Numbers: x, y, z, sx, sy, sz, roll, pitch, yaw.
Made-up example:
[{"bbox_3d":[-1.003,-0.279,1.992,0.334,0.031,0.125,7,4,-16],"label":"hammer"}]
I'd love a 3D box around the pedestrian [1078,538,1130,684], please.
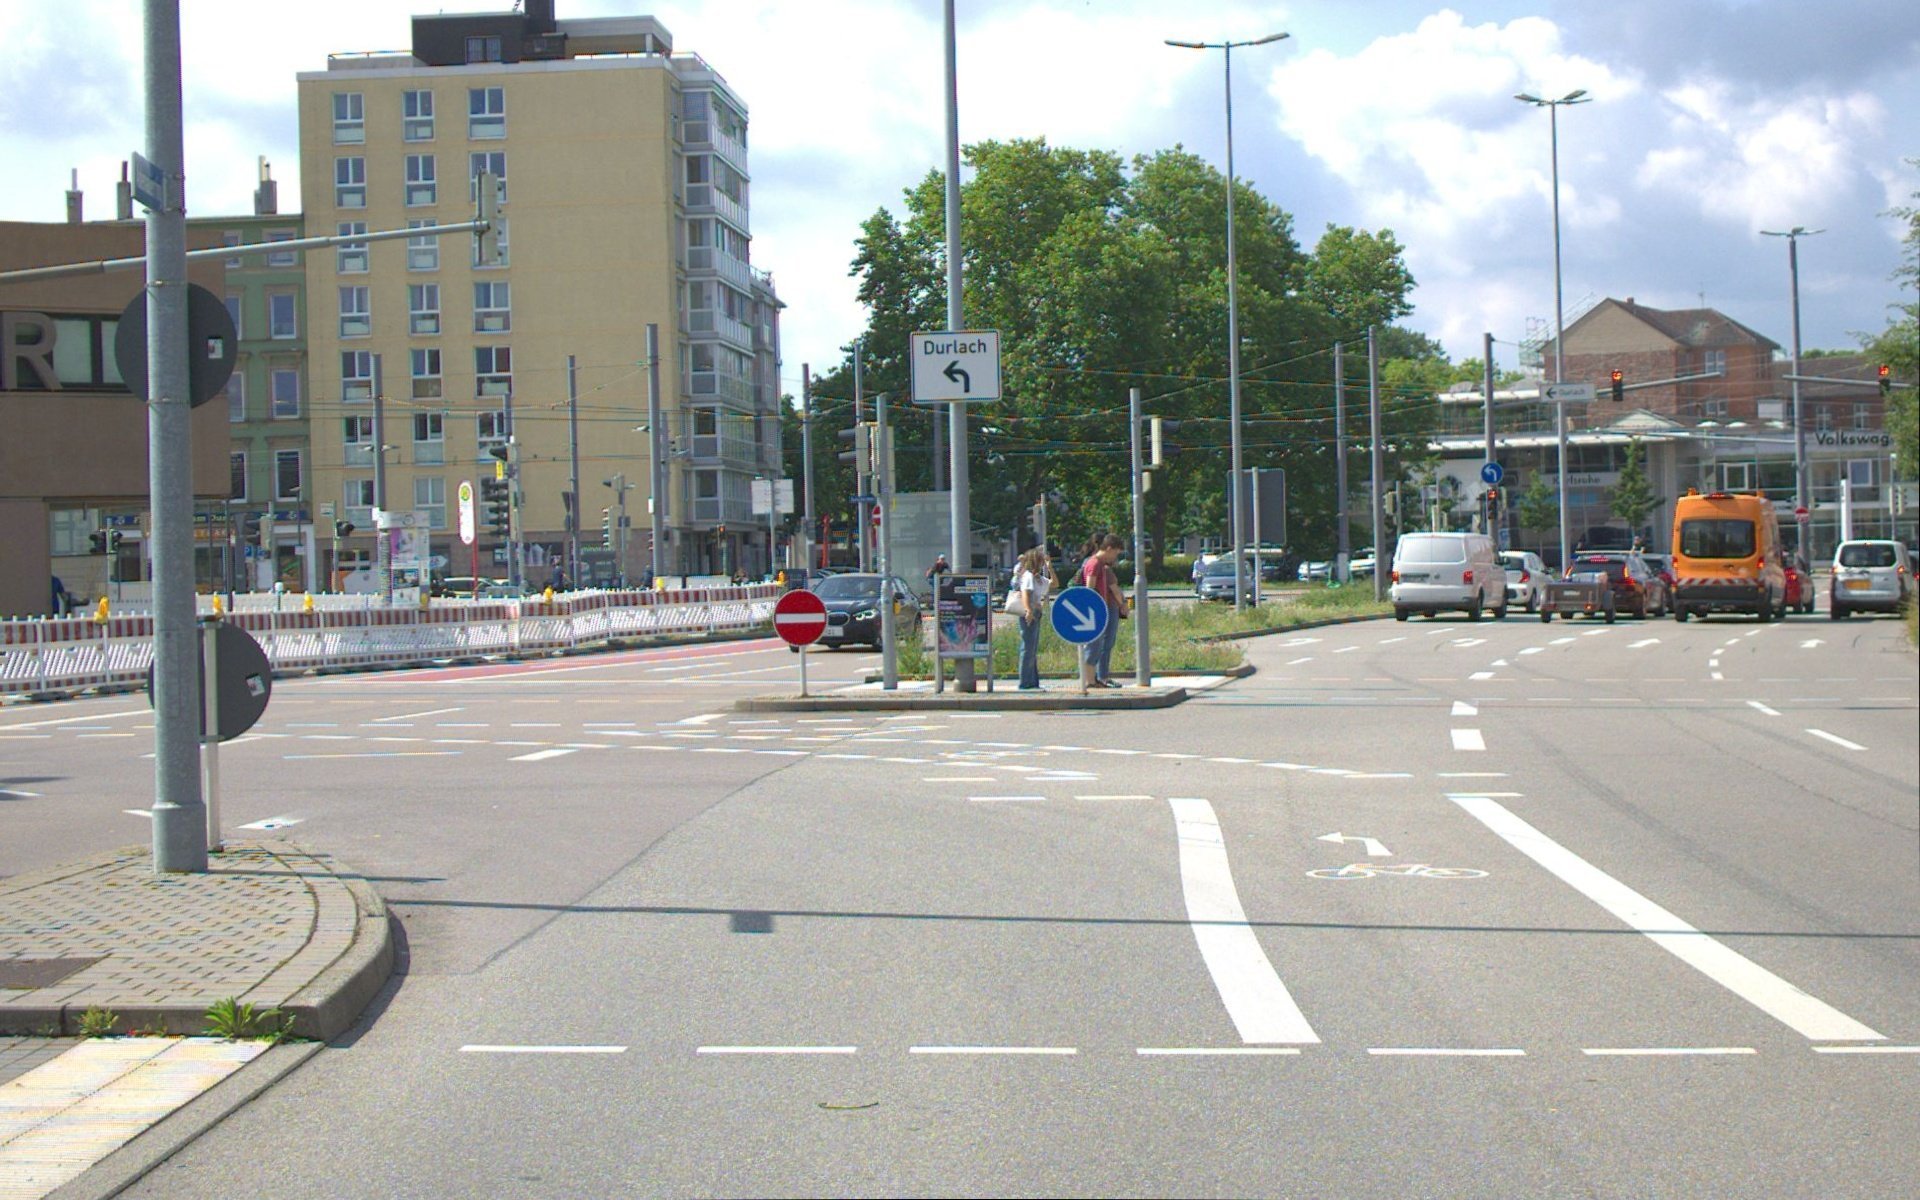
[{"bbox_3d":[1.679,0.120,40.044,0.525,1.678,0.623,-1,1,6],"label":"pedestrian"}]

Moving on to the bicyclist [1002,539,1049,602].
[{"bbox_3d":[2.020,-0.921,105.653,1.220,1.903,0.833,-1,1,17],"label":"bicyclist"}]

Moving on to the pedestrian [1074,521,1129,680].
[{"bbox_3d":[1.566,-0.003,37.921,0.525,1.727,0.623,-1,1,6],"label":"pedestrian"}]

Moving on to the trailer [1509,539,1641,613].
[{"bbox_3d":[13.345,-0.531,74.427,1.996,1.472,3.996,-2,1,22],"label":"trailer"}]

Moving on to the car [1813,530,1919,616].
[{"bbox_3d":[20.170,-0.610,75.900,1.996,1.789,3.996,-2,1,22],"label":"car"}]

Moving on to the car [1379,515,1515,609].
[{"bbox_3d":[10.916,-0.867,76.782,2.007,1.960,4.634,-2,1,20],"label":"car"}]

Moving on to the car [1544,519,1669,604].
[{"bbox_3d":[14.650,-0.892,77.709,1.996,1.820,3.996,-2,1,22],"label":"car"}]

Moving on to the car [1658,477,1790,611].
[{"bbox_3d":[16.706,-1.226,75.009,2.132,2.771,4.634,-2,1,20],"label":"car"}]

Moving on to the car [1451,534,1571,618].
[{"bbox_3d":[13.574,-0.603,84.502,1.993,1.932,4.634,-2,1,20],"label":"car"}]

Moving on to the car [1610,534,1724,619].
[{"bbox_3d":[17.254,-0.598,83.752,1.993,1.932,4.634,-2,1,20],"label":"car"}]

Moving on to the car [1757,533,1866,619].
[{"bbox_3d":[20.526,-0.597,82.746,1.993,1.932,4.634,-2,1,20],"label":"car"}]

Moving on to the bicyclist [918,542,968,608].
[{"bbox_3d":[-0.502,-0.723,100.897,1.220,1.903,0.858,-1,1,17],"label":"bicyclist"}]

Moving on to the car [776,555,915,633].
[{"bbox_3d":[-2.109,-0.129,64.380,1.793,1.383,4.225,-1,1,9],"label":"car"}]

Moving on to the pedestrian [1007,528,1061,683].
[{"bbox_3d":[0.839,0.053,38.873,0.525,1.727,0.623,-1,1,6],"label":"pedestrian"}]

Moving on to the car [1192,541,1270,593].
[{"bbox_3d":[8.063,-0.985,102.127,1.663,1.475,4.059,1,1,14],"label":"car"}]

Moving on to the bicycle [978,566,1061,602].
[{"bbox_3d":[1.820,-0.498,105.722,2.381,1.063,0.842,-1,1,17],"label":"bicycle"}]
